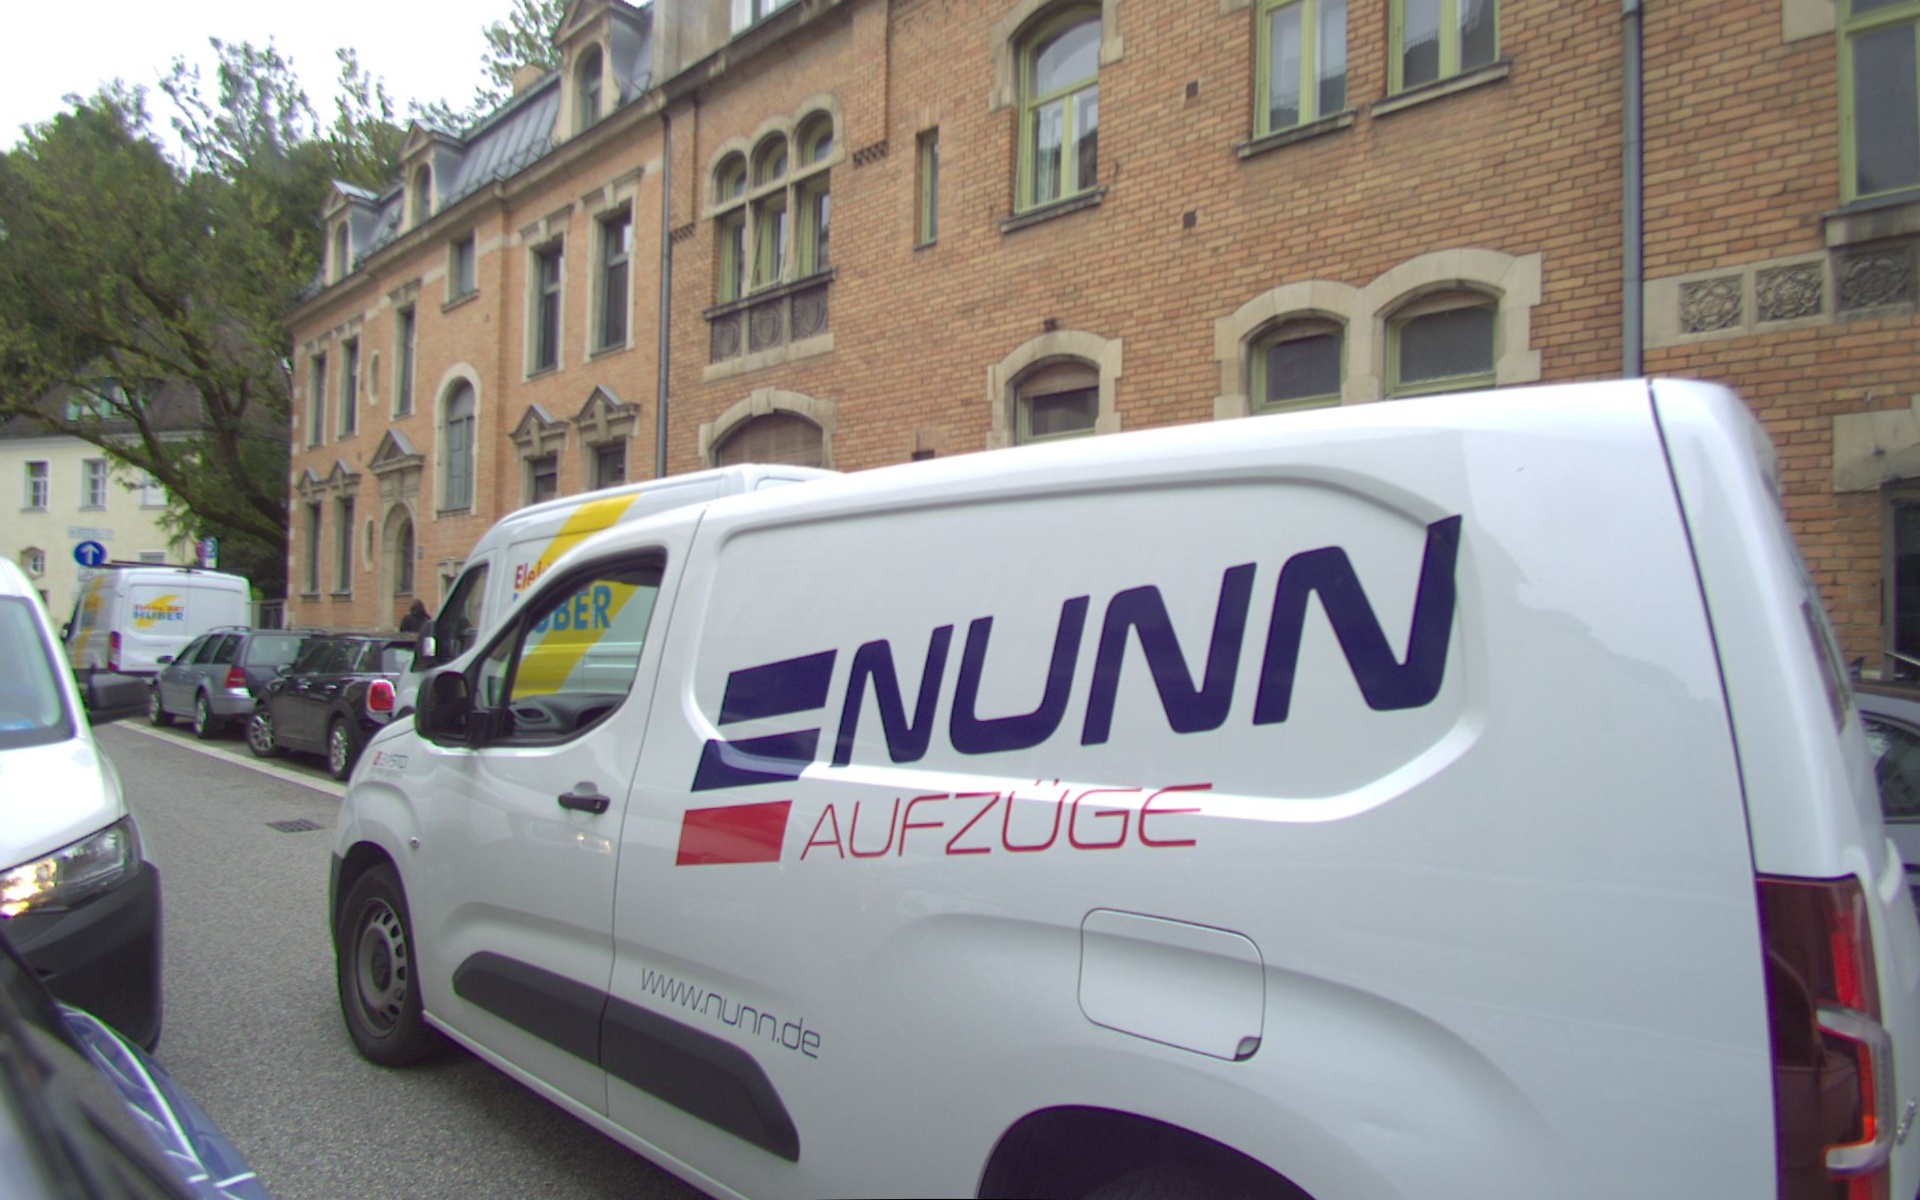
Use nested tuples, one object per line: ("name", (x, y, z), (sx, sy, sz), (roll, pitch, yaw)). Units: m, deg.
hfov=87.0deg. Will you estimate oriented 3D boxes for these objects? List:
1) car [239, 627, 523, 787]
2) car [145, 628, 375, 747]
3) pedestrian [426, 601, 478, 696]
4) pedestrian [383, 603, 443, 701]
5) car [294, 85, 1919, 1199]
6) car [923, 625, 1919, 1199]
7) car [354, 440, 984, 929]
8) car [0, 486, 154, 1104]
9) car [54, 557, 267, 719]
("car", (-6.360, 1.053, 10.981), (3.538, 1.454, 1.507), (-1, -5, 40))
("car", (-10.054, 1.169, 14.433), (3.981, 1.454, 1.672), (-1, -5, 40))
("pedestrian", (-9.040, 0.869, 18.023), (0.467, 1.645, 0.625), (-1, -4, 41))
("pedestrian", (-9.441, 0.901, 17.466), (0.675, 1.645, 0.625), (-1, -4, 41))
("car", (-0.219, 0.577, 2.873), (4.573, 1.817, 1.752), (-1, -3, 44))
("car", (1.962, 0.856, 3.827), (4.142, 1.454, 1.672), (-1, -4, 40))
("car", (-2.476, 0.505, 7.646), (5.220, 2.497, 1.961), (-1, -4, 41))
("car", (-4.633, 0.565, 3.843), (3.999, 1.785, 1.753), (-1, -3, 42))
("car", (-14.469, 0.736, 18.230), (4.419, 2.560, 2.091), (-2, -6, 41))
